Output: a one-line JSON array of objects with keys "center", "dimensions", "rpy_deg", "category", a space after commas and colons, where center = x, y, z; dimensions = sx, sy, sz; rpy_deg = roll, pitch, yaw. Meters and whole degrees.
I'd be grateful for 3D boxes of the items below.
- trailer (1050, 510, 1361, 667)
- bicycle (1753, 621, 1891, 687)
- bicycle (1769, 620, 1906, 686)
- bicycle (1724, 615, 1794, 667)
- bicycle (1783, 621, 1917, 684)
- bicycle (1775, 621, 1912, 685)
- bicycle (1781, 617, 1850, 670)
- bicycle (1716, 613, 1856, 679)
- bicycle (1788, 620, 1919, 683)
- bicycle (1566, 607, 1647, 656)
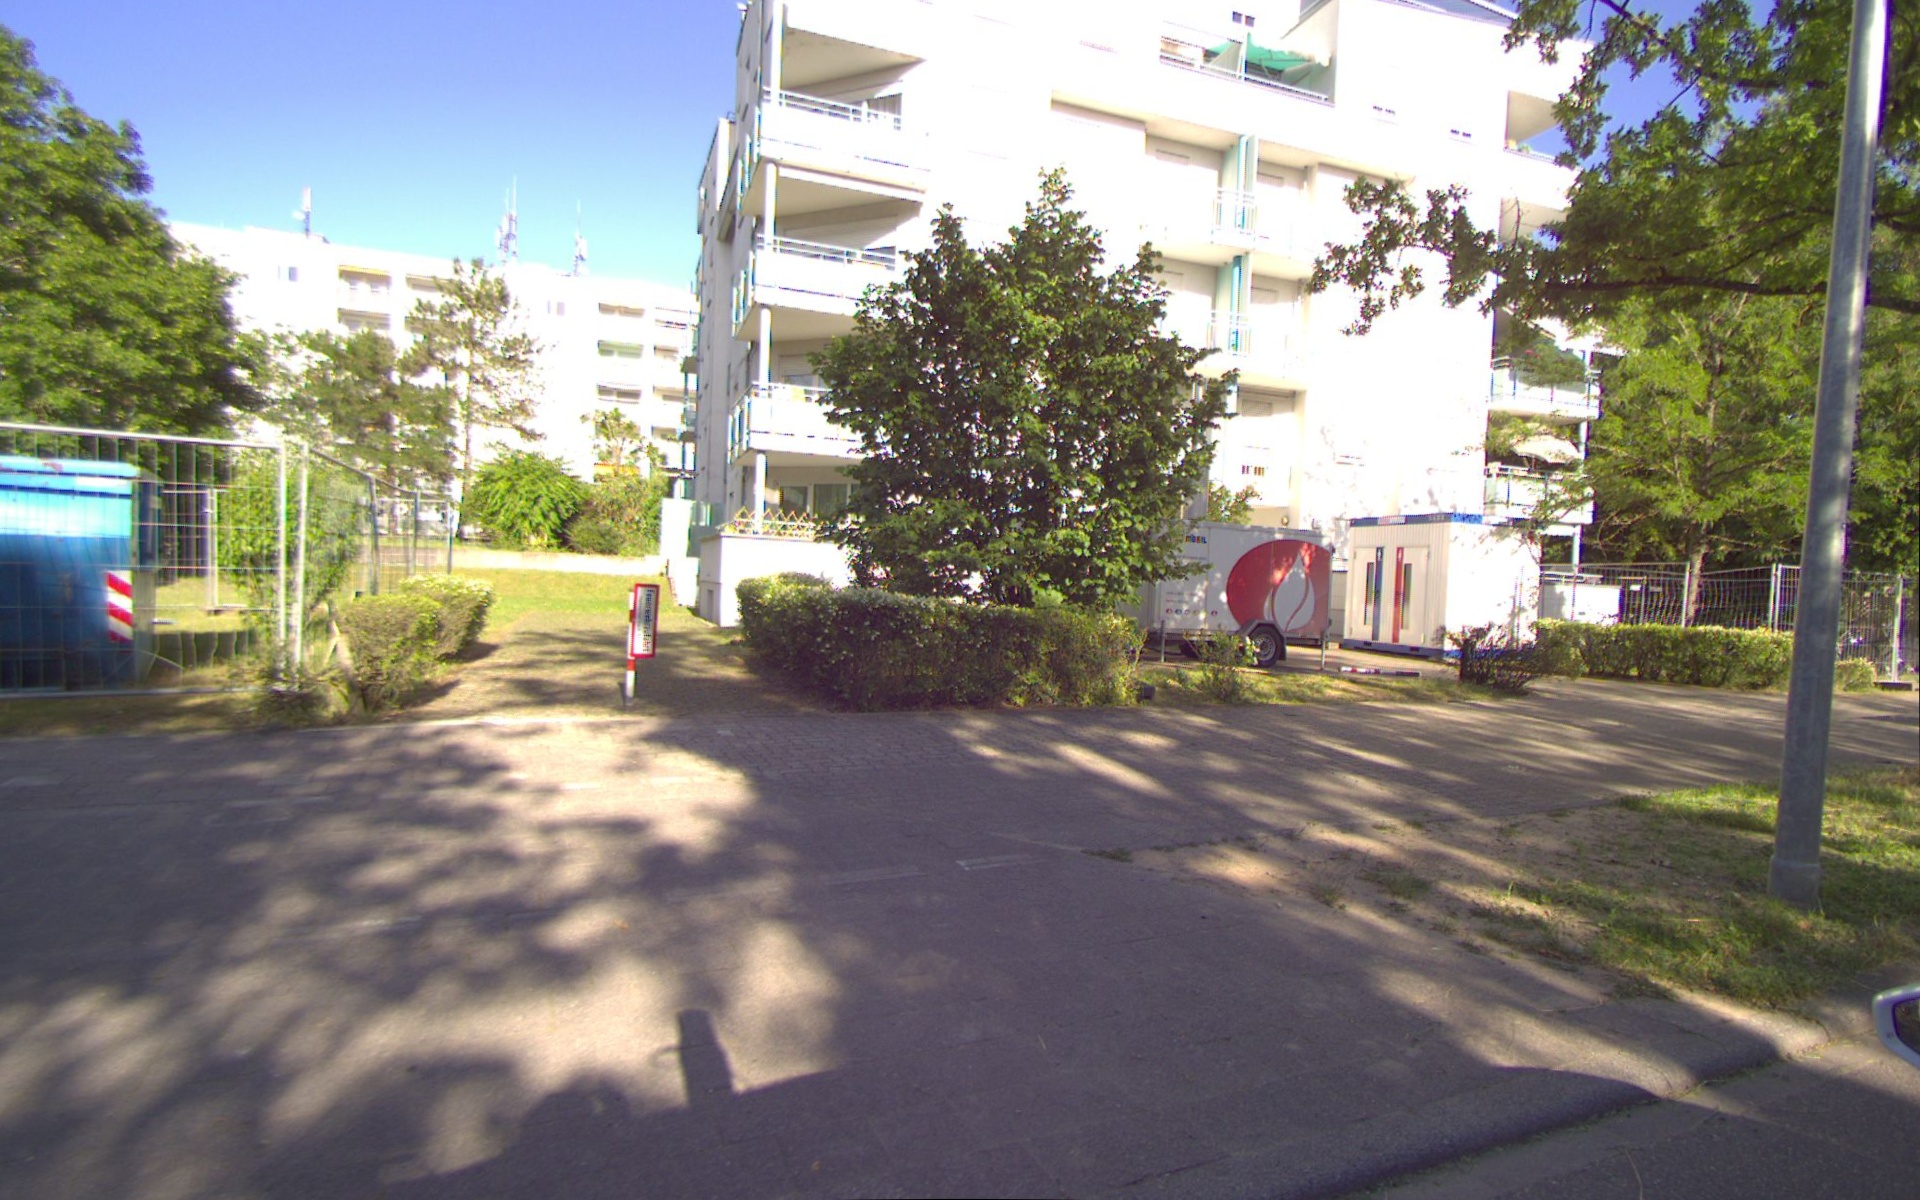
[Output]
[{"center": [3.772, -0.163, 15.536], "dimensions": [4.282, 2.149, 1.860], "rpy_deg": [2, 3, -21], "category": "trailer"}, {"center": [15.734, 0.964, 18.384], "dimensions": [0.397, 1.040, 1.841], "rpy_deg": [2, 2, -37], "category": "bicycle"}, {"center": [16.168, 0.954, 18.559], "dimensions": [0.397, 1.040, 1.824], "rpy_deg": [2, 2, -37], "category": "bicycle"}, {"center": [17.286, 0.892, 21.728], "dimensions": [1.676, 1.040, 0.398], "rpy_deg": [3, 1, -23], "category": "bicycle"}, {"center": [16.891, 0.971, 19.103], "dimensions": [0.397, 1.040, 1.824], "rpy_deg": [2, 2, -37], "category": "bicycle"}, {"center": [16.544, 0.969, 18.858], "dimensions": [0.397, 1.040, 1.845], "rpy_deg": [2, 2, -37], "category": "bicycle"}, {"center": [17.729, 0.899, 20.809], "dimensions": [1.678, 1.040, 0.398], "rpy_deg": [2, 1, -26], "category": "bicycle"}, {"center": [14.847, 0.804, 18.108], "dimensions": [0.397, 1.040, 1.855], "rpy_deg": [2, 2, -37], "category": "bicycle"}, {"center": [17.267, 0.965, 19.388], "dimensions": [0.397, 1.040, 1.900], "rpy_deg": [2, 2, -37], "category": "bicycle"}, {"center": [15.242, 0.733, 23.732], "dimensions": [0.394, 1.040, 1.693], "rpy_deg": [2, 1, -18], "category": "bicycle"}]
